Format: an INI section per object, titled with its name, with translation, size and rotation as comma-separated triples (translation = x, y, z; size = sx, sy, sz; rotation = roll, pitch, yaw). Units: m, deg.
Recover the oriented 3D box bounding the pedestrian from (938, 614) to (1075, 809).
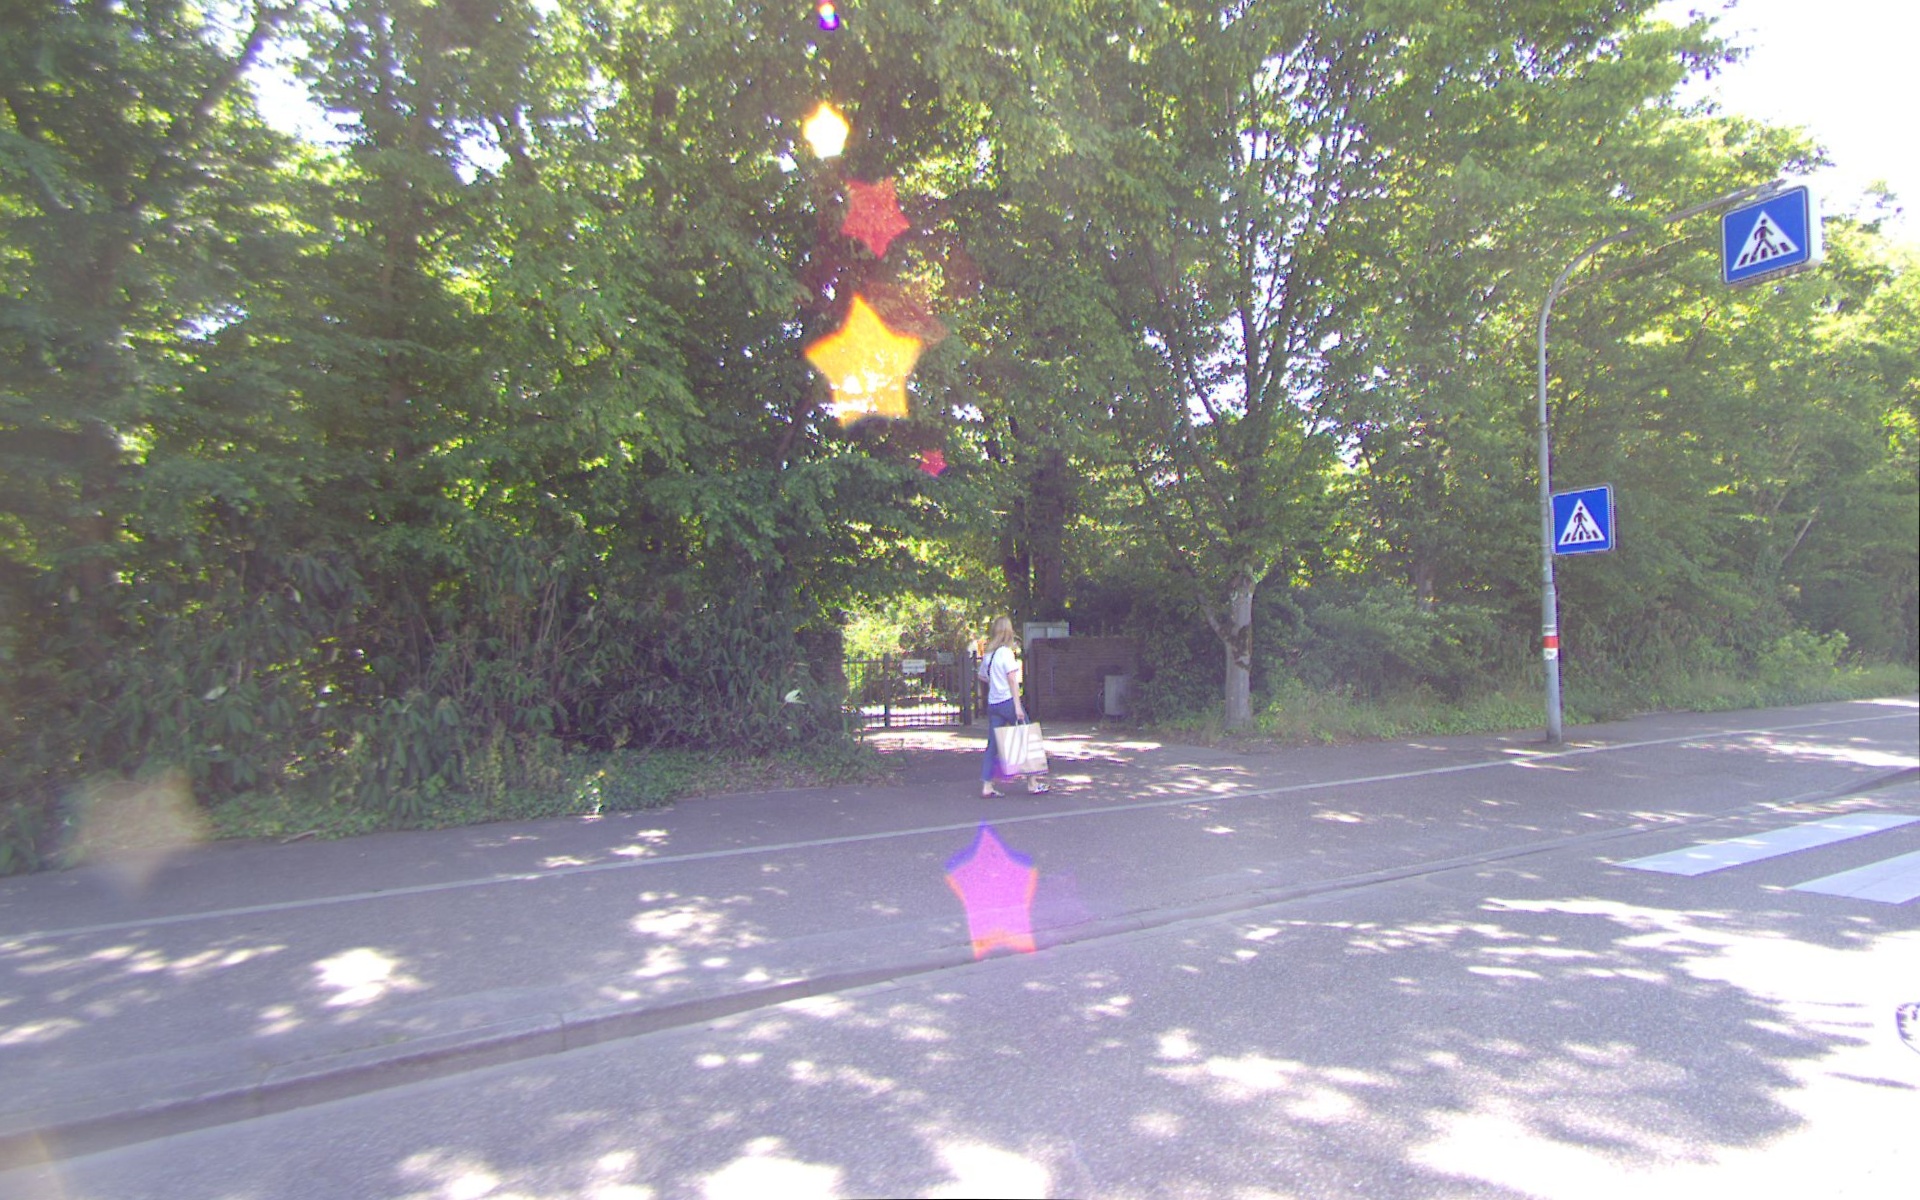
[pedestrian]
translation = 0.407, 0.954, 9.118
size = 0.875, 1.634, 0.928
rotation = 1, 0, -30
